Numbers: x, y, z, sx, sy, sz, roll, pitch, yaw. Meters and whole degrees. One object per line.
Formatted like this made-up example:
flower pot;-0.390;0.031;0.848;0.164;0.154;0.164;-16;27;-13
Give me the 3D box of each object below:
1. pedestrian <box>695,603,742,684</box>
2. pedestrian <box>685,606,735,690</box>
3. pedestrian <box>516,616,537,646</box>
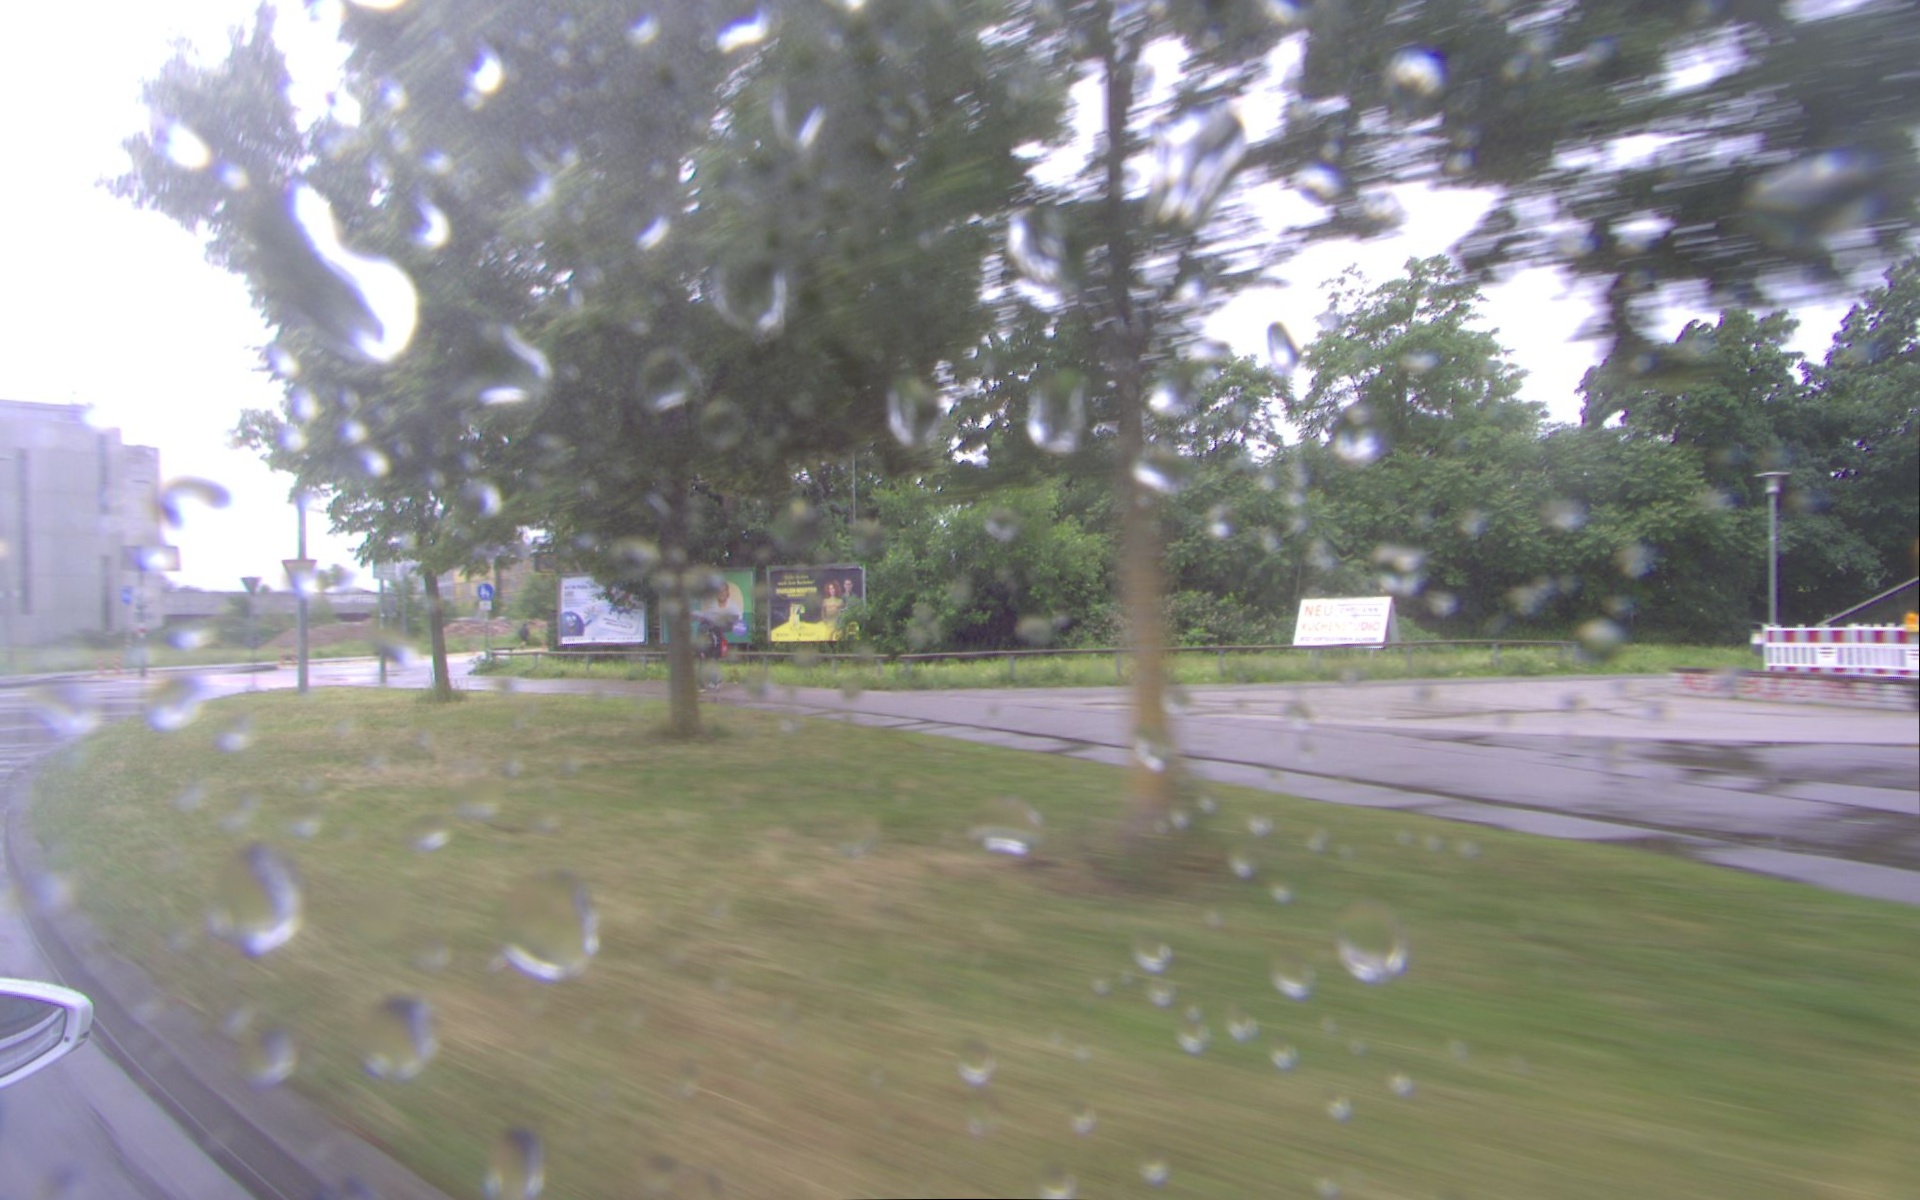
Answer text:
pedestrian;-5.514;1.004;22.867;0.910;1.806;0.805;1;-3;-26
pedestrian;-5.477;1.058;21.935;0.910;1.806;0.805;1;-3;-26
pedestrian;-29.688;2.137;68.592;0.832;2.038;1.132;-1;-3;10
